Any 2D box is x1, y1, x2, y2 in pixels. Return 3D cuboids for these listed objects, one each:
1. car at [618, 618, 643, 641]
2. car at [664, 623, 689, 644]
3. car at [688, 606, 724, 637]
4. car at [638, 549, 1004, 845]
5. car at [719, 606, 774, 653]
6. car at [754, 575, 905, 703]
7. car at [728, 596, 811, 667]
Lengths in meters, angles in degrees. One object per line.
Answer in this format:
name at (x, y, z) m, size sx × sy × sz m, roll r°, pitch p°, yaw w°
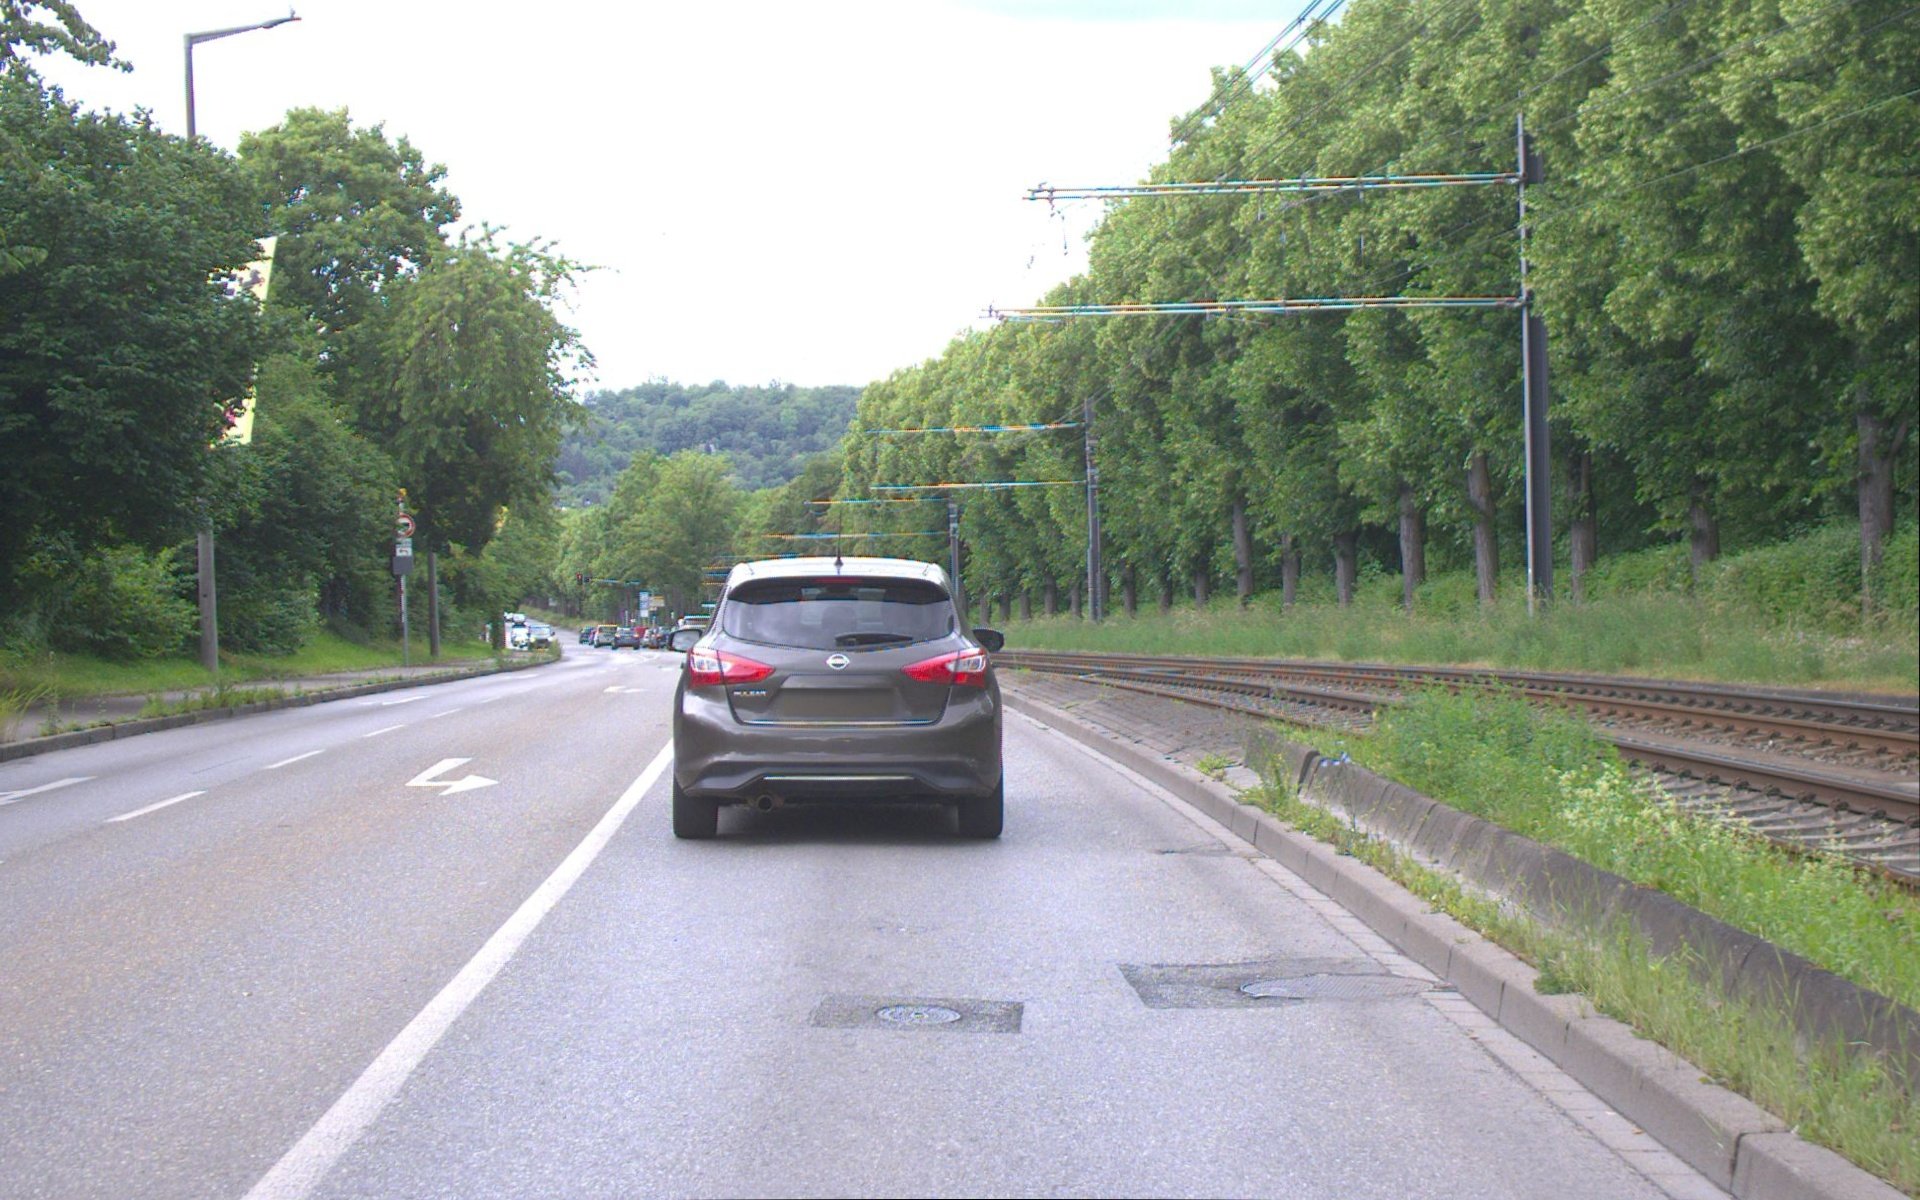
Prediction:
car at (-24.395, 2.176, 254.410) m, size 1.699 × 1.708 × 4.000 m, roll 0°, pitch -1°, yaw -4°
car at (-19.995, 2.368, 242.718) m, size 1.699 × 1.471 × 3.706 m, roll 0°, pitch -1°, yaw -4°
car at (-12.979, 1.110, 175.744) m, size 1.794 × 1.505 × 4.000 m, roll 0°, pitch -1°, yaw -4°
car at (-0.735, 0.485, 19.640) m, size 1.850 × 1.488 × 4.000 m, roll 1°, pitch 0°, yaw -1°
car at (-6.743, 0.940, 108.220) m, size 1.699 × 1.439 × 4.000 m, roll 0°, pitch -1°, yaw -4°
car at (-1.559, 0.467, 40.705) m, size 1.699 × 1.439 × 4.000 m, roll 0°, pitch -1°, yaw -3°
car at (-4.048, 0.679, 72.821) m, size 1.699 × 1.439 × 4.000 m, roll 0°, pitch -1°, yaw -4°
